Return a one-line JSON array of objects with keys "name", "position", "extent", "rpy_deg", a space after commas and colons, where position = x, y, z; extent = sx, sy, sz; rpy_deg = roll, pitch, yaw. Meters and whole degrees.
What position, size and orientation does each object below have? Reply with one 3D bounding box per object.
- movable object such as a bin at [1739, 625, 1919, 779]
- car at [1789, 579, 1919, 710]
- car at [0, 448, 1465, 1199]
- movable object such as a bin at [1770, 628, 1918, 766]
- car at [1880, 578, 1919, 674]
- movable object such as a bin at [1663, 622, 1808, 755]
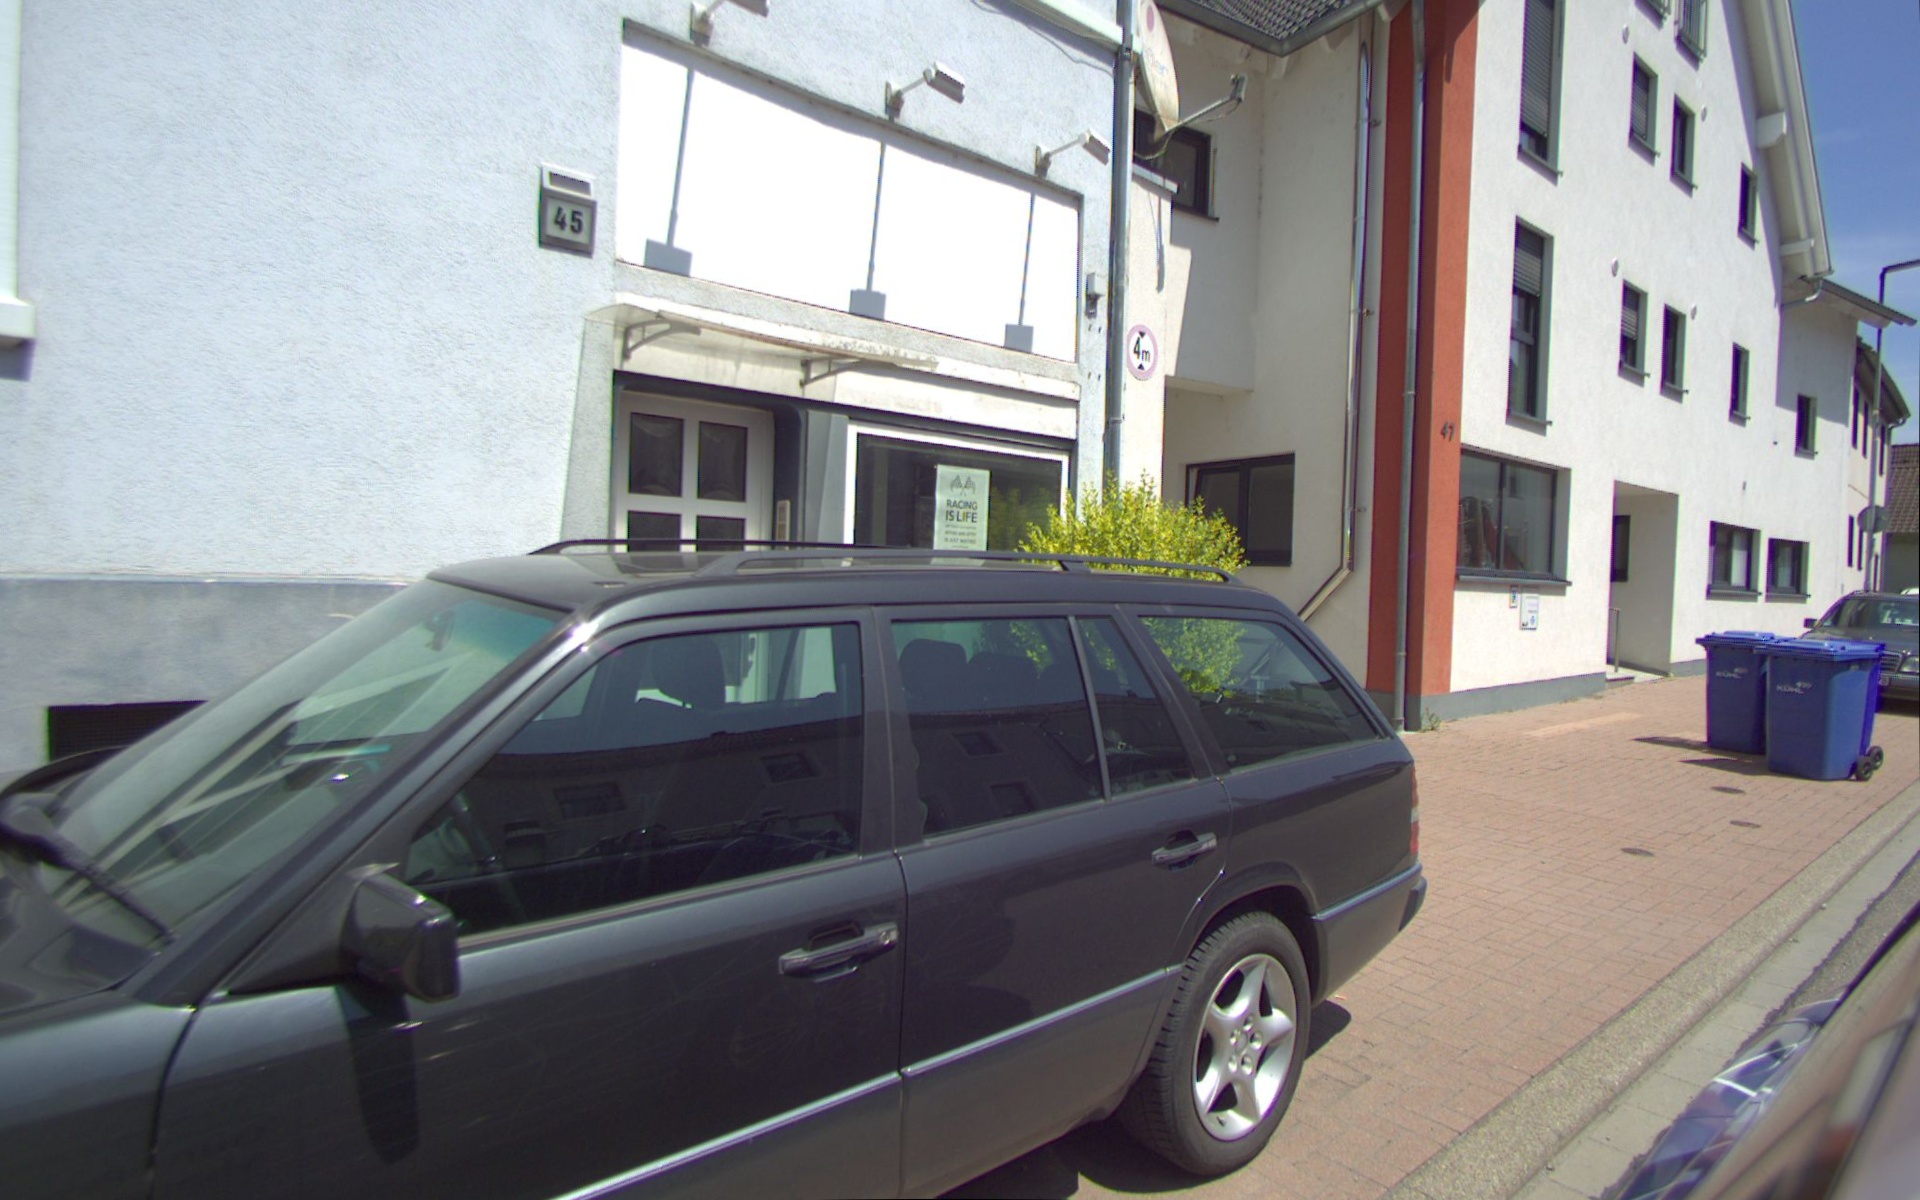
[{"name": "movable object such as a bin", "position": [6.931, 0.779, 8.053], "extent": [0.951, 1.086, 0.726], "rpy_deg": [1, 3, -23]}, {"name": "car", "position": [12.959, 0.533, 13.716], "extent": [4.750, 1.464, 1.705], "rpy_deg": [0, 4, -40]}, {"name": "car", "position": [-0.747, 0.552, 2.359], "extent": [4.496, 1.484, 1.774], "rpy_deg": [0, 2, -40]}, {"name": "movable object such as a bin", "position": [7.439, 0.793, 8.530], "extent": [0.670, 1.047, 0.659], "rpy_deg": [1, 3, -23]}, {"name": "car", "position": [17.205, 0.467, 17.329], "extent": [3.482, 1.540, 1.611], "rpy_deg": [0, 4, -40]}, {"name": "movable object such as a bin", "position": [6.903, 0.769, 9.025], "extent": [0.818, 1.073, 0.658], "rpy_deg": [1, 3, -23]}]
